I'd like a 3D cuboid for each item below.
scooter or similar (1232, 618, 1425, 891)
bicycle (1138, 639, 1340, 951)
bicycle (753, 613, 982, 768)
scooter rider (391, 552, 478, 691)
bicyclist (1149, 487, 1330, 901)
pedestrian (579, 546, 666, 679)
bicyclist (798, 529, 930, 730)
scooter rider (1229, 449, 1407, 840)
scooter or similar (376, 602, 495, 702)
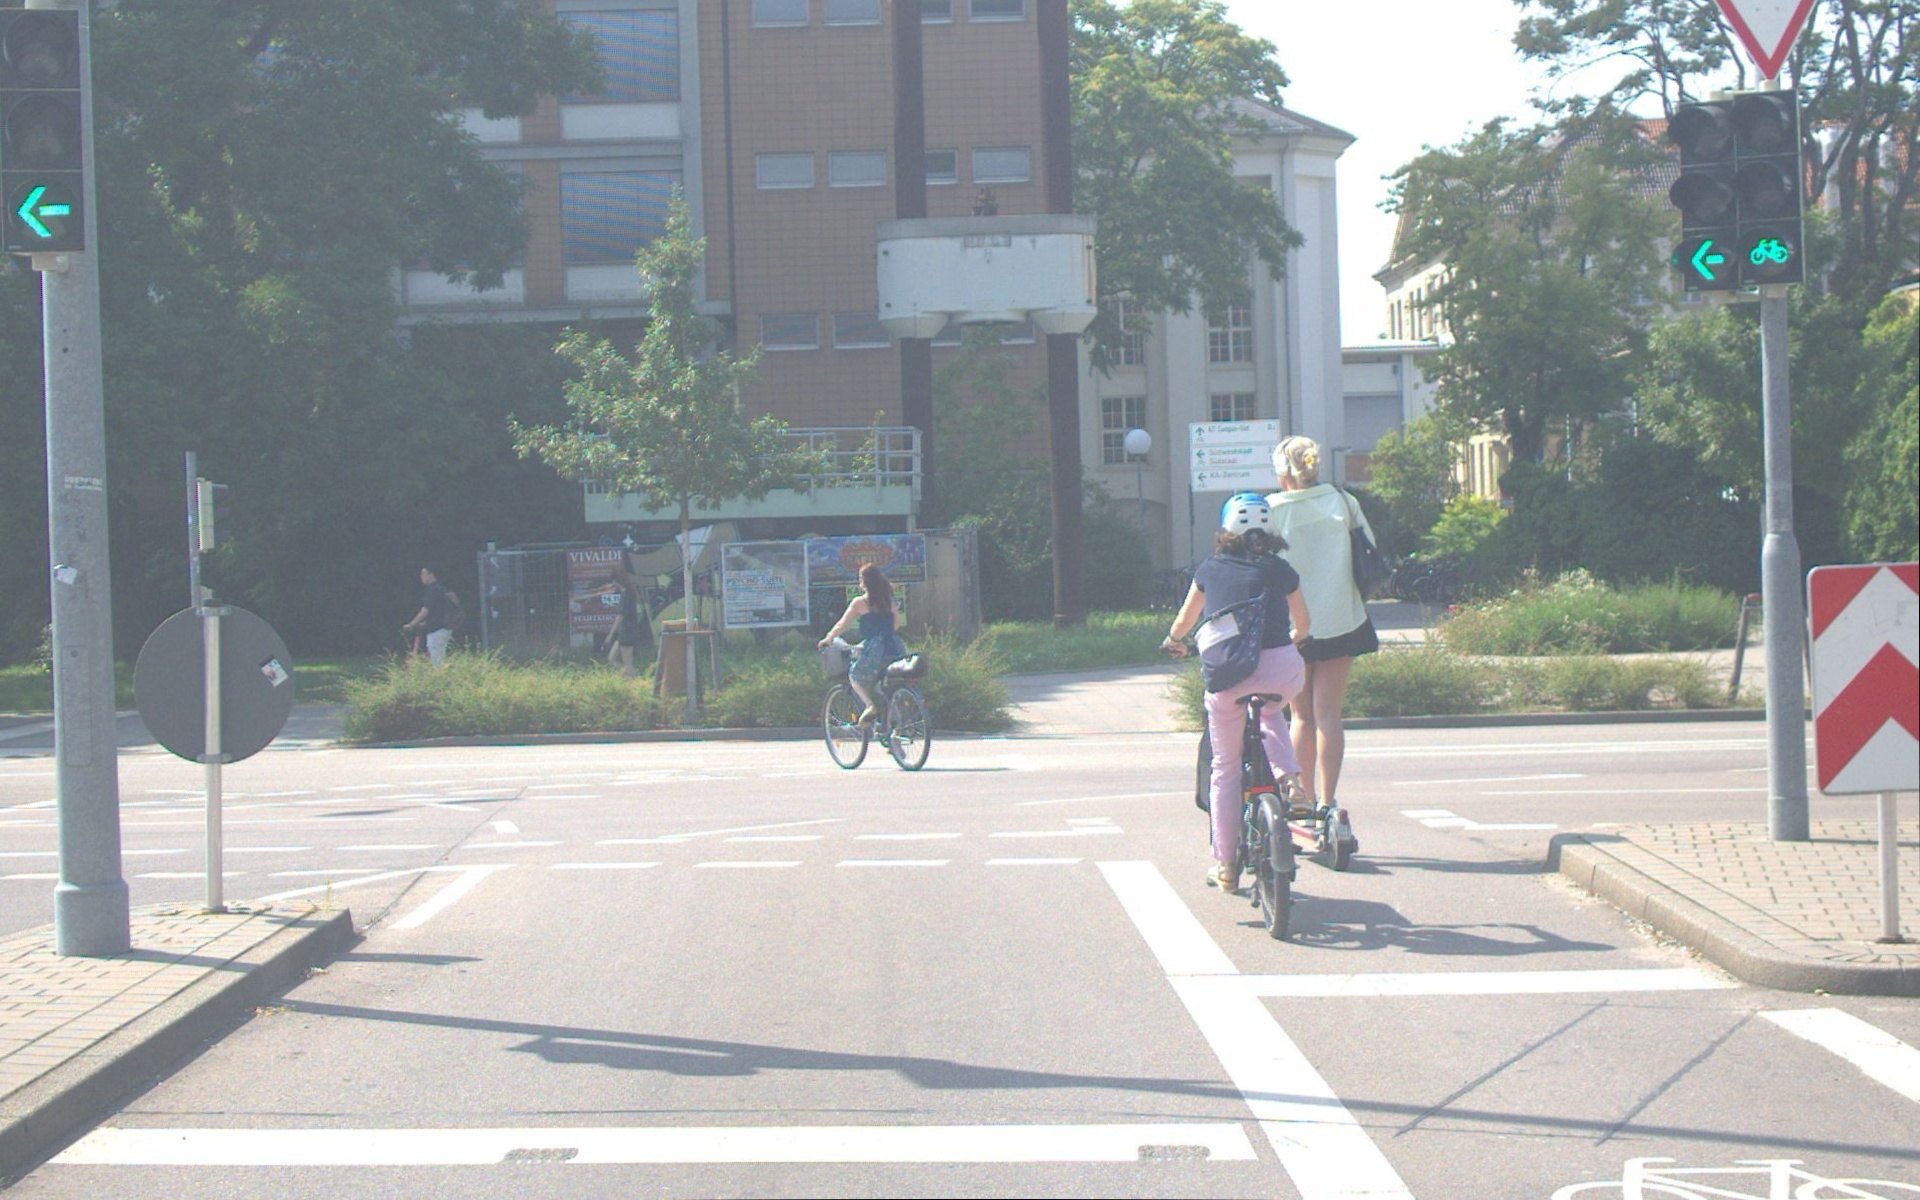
[{"bbox_3d":[1.606,0.645,15.238,0.556,1.056,2.004,-2,1,-2],"label":"scooter or similar"},{"bbox_3d":[1.053,0.711,13.319,0.556,1.056,2.004,-1,1,-2],"label":"bicycle"},{"bbox_3d":[-0.791,0.718,28.407,0.694,1.151,2.371,-4,3,-33],"label":"bicycle"},{"bbox_3d":[-6.720,0.269,43.971,0.803,1.733,0.688,-2,1,21],"label":"scooter rider"},{"bbox_3d":[1.042,0.335,12.928,0.548,1.491,0.804,-2,1,-1],"label":"bicyclist"},{"bbox_3d":[-4.448,0.164,45.307,0.877,1.698,0.707,-2,2,16],"label":"pedestrian"},{"bbox_3d":[-0.794,0.232,28.356,0.690,1.593,0.844,-4,3,-33],"label":"bicyclist"},{"bbox_3d":[1.591,0.190,15.342,0.670,1.694,0.539,-2,1,-1],"label":"scooter rider"},{"bbox_3d":[-6.726,0.670,44.078,1.365,1.230,0.585,-2,1,21],"label":"scooter or similar"}]
